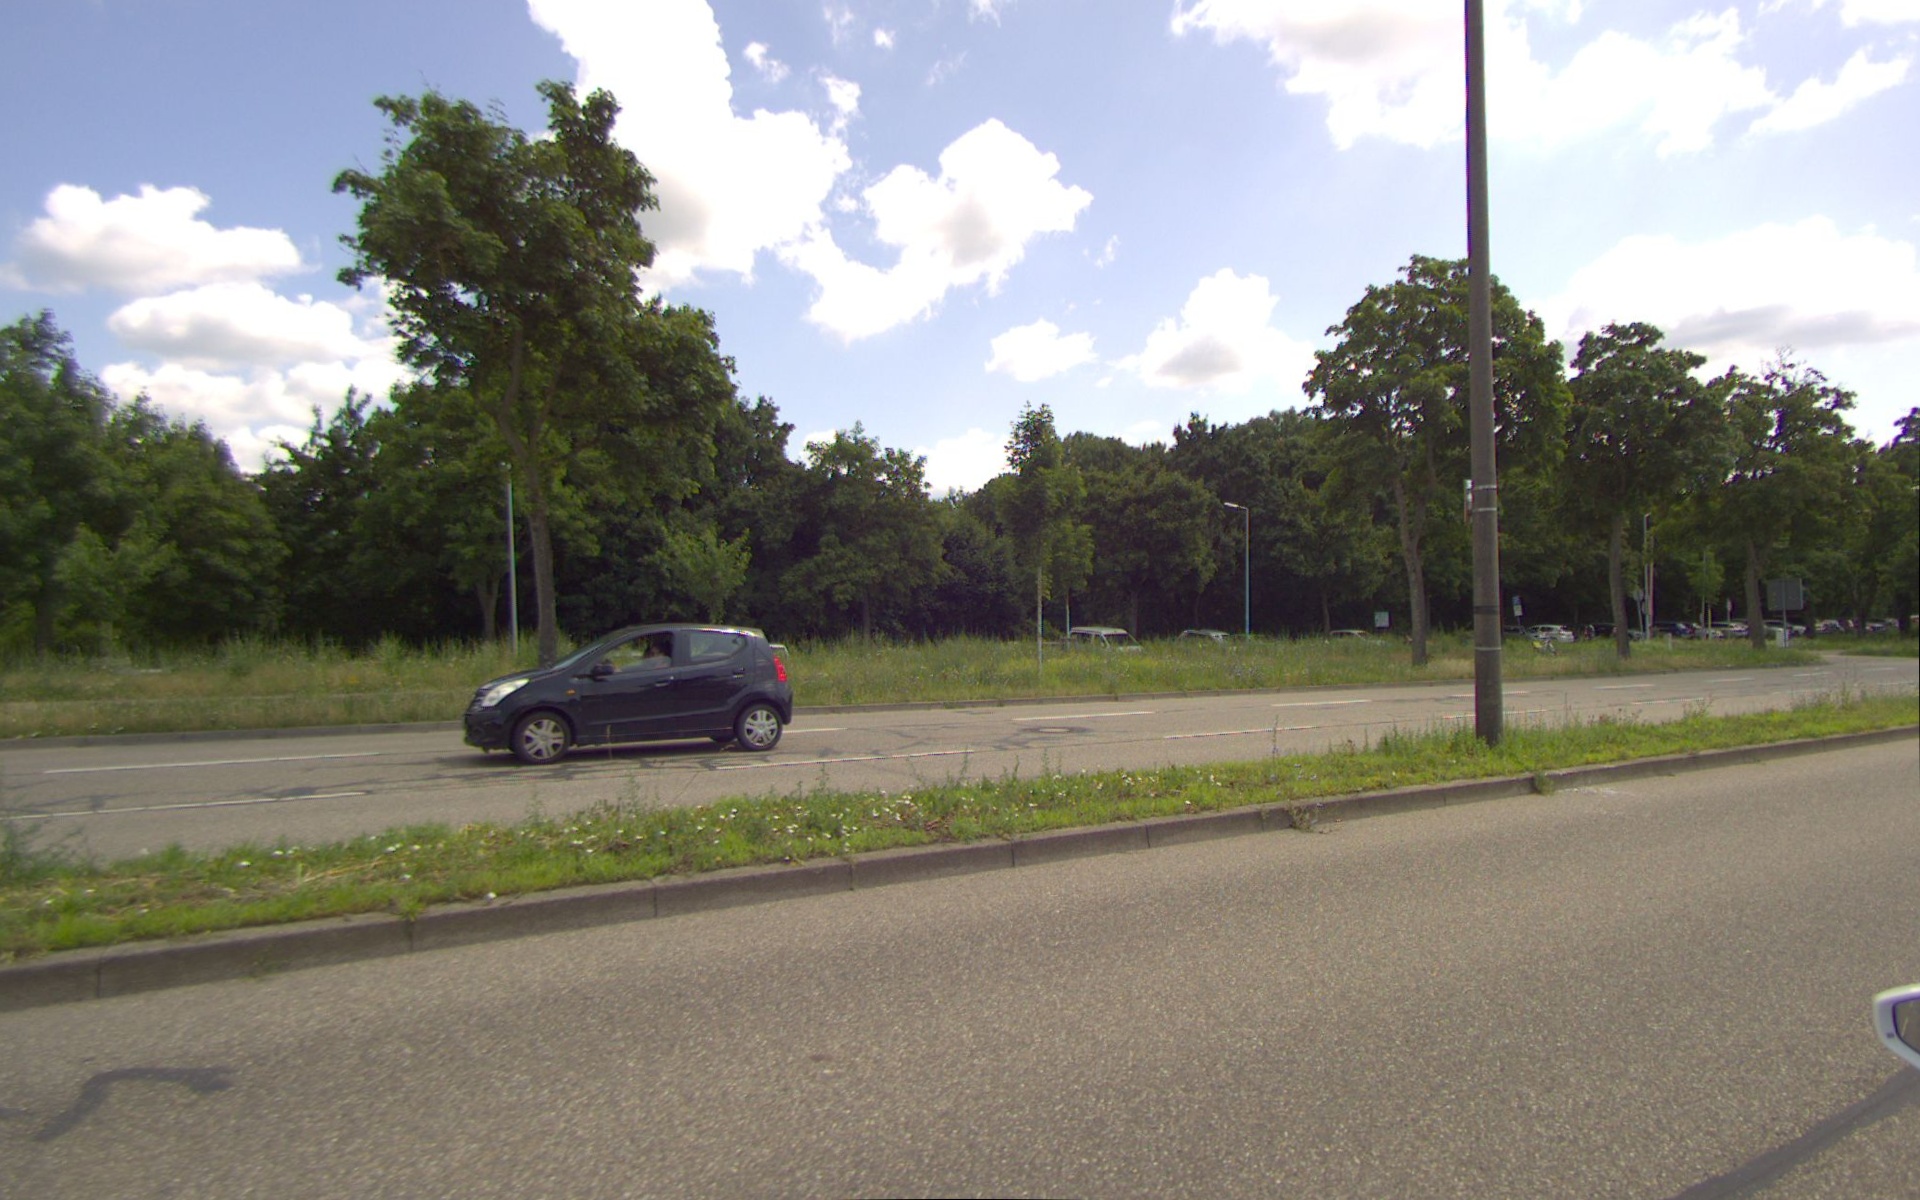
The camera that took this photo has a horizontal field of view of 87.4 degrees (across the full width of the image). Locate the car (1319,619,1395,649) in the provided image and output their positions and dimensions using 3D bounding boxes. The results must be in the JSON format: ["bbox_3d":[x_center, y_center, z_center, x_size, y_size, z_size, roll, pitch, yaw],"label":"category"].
[{"bbox_3d":[22.608,1.911,57.287,1.764,1.528,3.767,-1,1,-29],"label":"car"}]

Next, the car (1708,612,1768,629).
[{"bbox_3d":[68.715,1.804,88.774,1.763,1.406,3.770,-1,1,-27],"label":"car"}]

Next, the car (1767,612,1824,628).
[{"bbox_3d":[79.094,1.906,95.127,1.763,1.406,3.770,-1,1,-27],"label":"car"}]

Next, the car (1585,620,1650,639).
[{"bbox_3d":[49.816,2.237,76.183,1.765,1.264,3.765,-1,1,-31],"label":"car"}]

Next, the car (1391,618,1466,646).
[{"bbox_3d":[28.155,1.914,60.436,1.764,1.528,3.767,-1,1,-29],"label":"car"}]

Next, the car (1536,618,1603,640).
[{"bbox_3d":[43.827,2.083,72.239,1.765,1.405,3.765,-1,1,-31],"label":"car"}]

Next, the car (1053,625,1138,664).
[{"bbox_3d":[6.449,2.080,48.159,1.978,1.647,3.964,-1,1,-33],"label":"car"}]

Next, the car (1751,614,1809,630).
[{"bbox_3d":[75.995,2.037,93.137,1.763,1.406,3.770,-1,1,-27],"label":"car"}]

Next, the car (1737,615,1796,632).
[{"bbox_3d":[72.567,2.129,90.382,1.763,1.406,3.770,-1,1,-27],"label":"car"}]

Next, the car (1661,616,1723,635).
[{"bbox_3d":[60.673,2.073,83.303,1.763,1.406,3.770,-1,1,-27],"label":"car"}]

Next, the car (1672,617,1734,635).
[{"bbox_3d":[62.417,2.147,84.434,1.763,1.406,3.770,-1,1,-27],"label":"car"}]

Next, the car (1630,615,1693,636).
[{"bbox_3d":[56.069,2.009,80.292,1.763,1.589,3.770,-1,1,-27],"label":"car"}]

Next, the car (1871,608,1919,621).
[{"bbox_3d":[104.768,1.579,112.496,1.763,1.406,3.770,-1,1,-27],"label":"car"}]

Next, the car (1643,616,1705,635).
[{"bbox_3d":[58.135,2.044,81.850,1.763,1.406,3.770,-1,1,-27],"label":"car"}]

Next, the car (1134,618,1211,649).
[{"bbox_3d":[11.691,1.833,55.542,1.978,1.539,3.964,-1,1,-33],"label":"car"}]

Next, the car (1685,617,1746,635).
[{"bbox_3d":[64.404,2.197,85.684,1.763,1.406,3.770,-1,1,-27],"label":"car"}]

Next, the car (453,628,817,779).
[{"bbox_3d":[-3.643,1.053,11.558,3.645,1.446,1.687,1,-2,-40],"label":"car"}]

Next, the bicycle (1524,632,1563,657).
[{"bbox_3d":[24.046,1.839,41.412,1.896,0.991,0.564,0,-1,-32],"label":"bicycle"}]

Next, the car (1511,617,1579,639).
[{"bbox_3d":[41.187,1.940,70.780,1.765,1.447,3.765,-1,1,-31],"label":"car"}]
